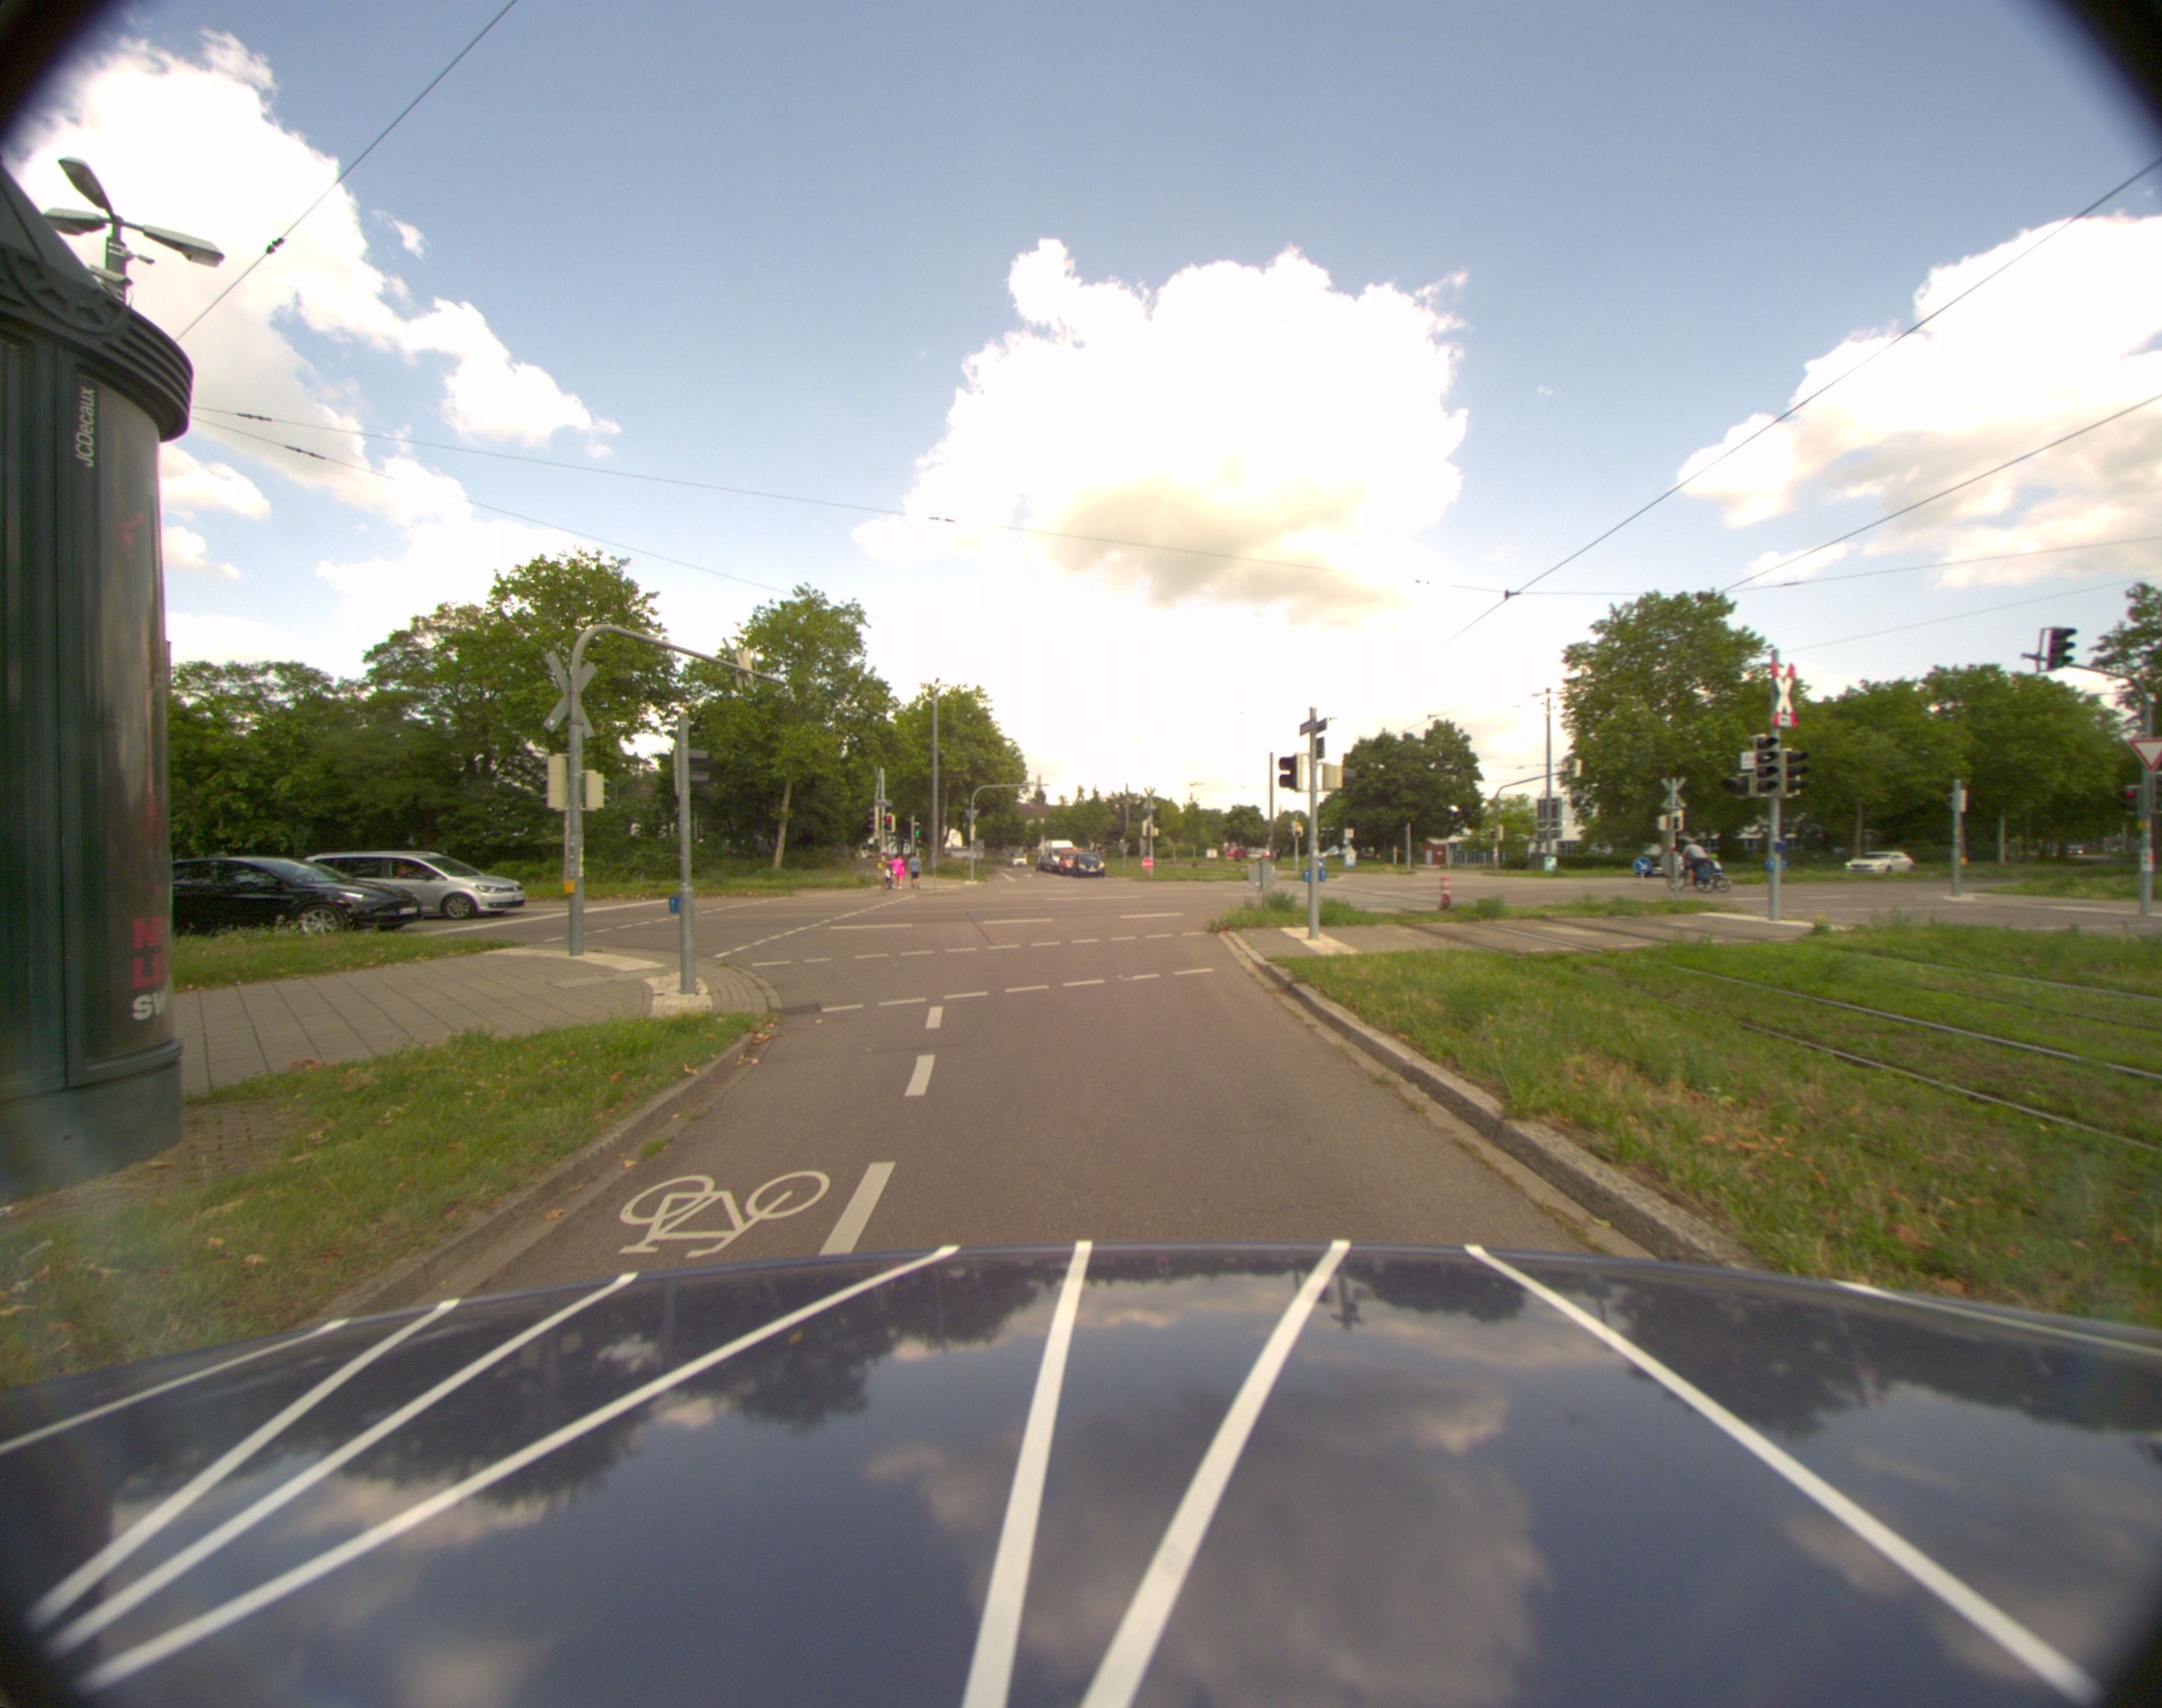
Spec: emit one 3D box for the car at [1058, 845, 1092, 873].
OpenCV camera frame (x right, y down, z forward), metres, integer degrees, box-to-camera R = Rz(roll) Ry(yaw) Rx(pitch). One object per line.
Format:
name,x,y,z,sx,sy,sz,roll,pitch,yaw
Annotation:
car,-0.458,0.318,54.583,1.796,1.924,4.364,-1,1,-9

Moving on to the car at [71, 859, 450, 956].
car,-15.529,0.953,14.711,4.687,1.601,1.998,-1,2,-10

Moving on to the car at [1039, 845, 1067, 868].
car,-2.497,0.219,66.680,1.796,1.924,4.364,-1,1,-10

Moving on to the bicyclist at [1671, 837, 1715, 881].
bicyclist,20.358,0.151,25.292,0.625,1.449,0.927,-1,1,-14

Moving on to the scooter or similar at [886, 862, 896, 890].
scooter or similar,-7.967,0.911,31.884,0.395,1.154,1.115,-1,1,-14

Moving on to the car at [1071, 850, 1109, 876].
car,0.553,0.540,48.575,1.796,1.530,3.996,-1,1,-8

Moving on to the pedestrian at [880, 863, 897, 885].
pedestrian,-9.183,0.955,36.227,0.723,1.028,0.901,-1,1,-10

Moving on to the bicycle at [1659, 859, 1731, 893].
bicycle,20.375,0.711,25.258,0.648,1.073,1.802,-1,1,-14

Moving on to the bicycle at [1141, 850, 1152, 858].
bicycle,8.981,0.054,104.246,0.805,1.053,2.067,-1,-1,-16

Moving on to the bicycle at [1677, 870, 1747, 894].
bicycle,21.132,0.920,25.488,0.648,0.713,1.802,0,1,-12

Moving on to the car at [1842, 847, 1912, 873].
car,48.628,0.329,46.404,3.915,1.515,1.696,-1,1,-23

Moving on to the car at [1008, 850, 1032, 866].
car,-6.756,0.436,83.888,1.869,1.635,4.228,-1,1,-14

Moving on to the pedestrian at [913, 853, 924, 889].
pedestrian,-6.994,0.729,32.696,0.419,1.499,0.451,-1,1,-11

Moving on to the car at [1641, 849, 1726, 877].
car,34.447,0.478,43.489,3.858,1.515,1.697,-1,1,-11

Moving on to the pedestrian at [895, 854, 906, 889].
pedestrian,-7.757,0.732,32.675,0.419,1.499,0.392,-1,1,-11

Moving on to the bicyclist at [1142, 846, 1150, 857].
bicyclist,8.944,-0.396,104.337,0.805,1.461,0.831,-1,-1,-16

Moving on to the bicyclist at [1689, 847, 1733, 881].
bicyclist,21.128,0.322,25.490,0.641,1.106,0.927,-1,1,-12

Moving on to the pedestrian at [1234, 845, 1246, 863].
pedestrian,16.237,-0.018,77.686,0.908,1.857,1.001,-1,1,-12

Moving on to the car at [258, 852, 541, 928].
car,-16.201,0.801,18.370,4.688,1.601,1.998,-1,2,-11

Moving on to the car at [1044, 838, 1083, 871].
car,-1.438,0.033,61.045,2.240,2.492,5.720,-1,1,-10

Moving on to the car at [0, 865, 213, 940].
car,-22.944,1.049,16.743,4.750,1.461,1.998,-1,2,-11
